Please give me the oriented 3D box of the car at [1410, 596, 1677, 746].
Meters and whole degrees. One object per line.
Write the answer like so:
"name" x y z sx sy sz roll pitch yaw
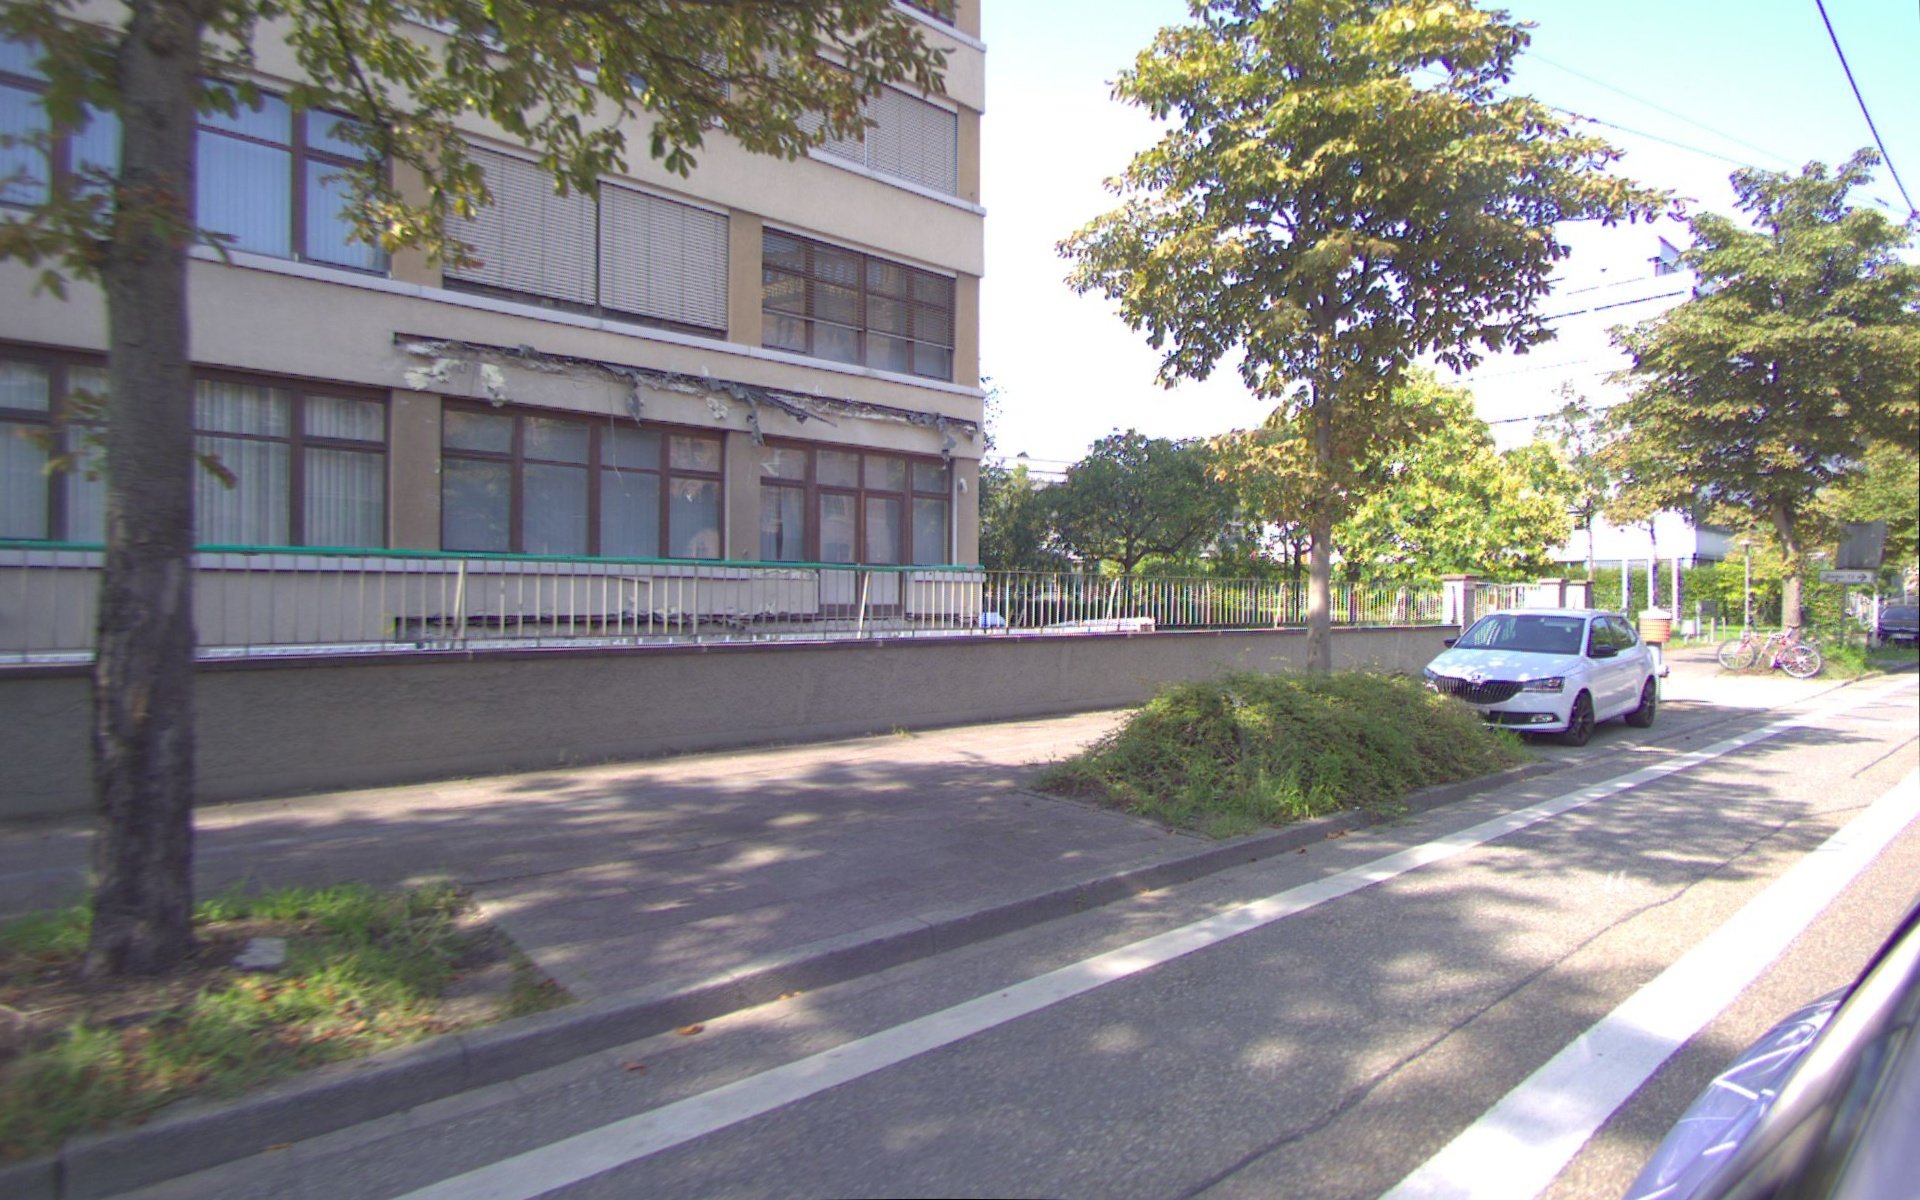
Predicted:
"car" 7.088 0.711 12.142 3.921 1.447 1.642 -1 2 -42

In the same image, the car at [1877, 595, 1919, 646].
"car" 30.210 0.641 31.684 4.360 1.504 1.744 0 1 -42

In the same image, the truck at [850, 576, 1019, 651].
"truck" -1.002 0.378 33.692 2.083 2.243 6.581 0 0 -39

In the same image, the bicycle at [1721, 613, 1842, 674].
"bicycle" 16.458 0.841 20.306 0.782 1.077 1.772 0 2 -41

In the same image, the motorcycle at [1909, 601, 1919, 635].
"motorcycle" 35.458 0.659 36.315 0.632 1.240 1.993 0 0 -15
